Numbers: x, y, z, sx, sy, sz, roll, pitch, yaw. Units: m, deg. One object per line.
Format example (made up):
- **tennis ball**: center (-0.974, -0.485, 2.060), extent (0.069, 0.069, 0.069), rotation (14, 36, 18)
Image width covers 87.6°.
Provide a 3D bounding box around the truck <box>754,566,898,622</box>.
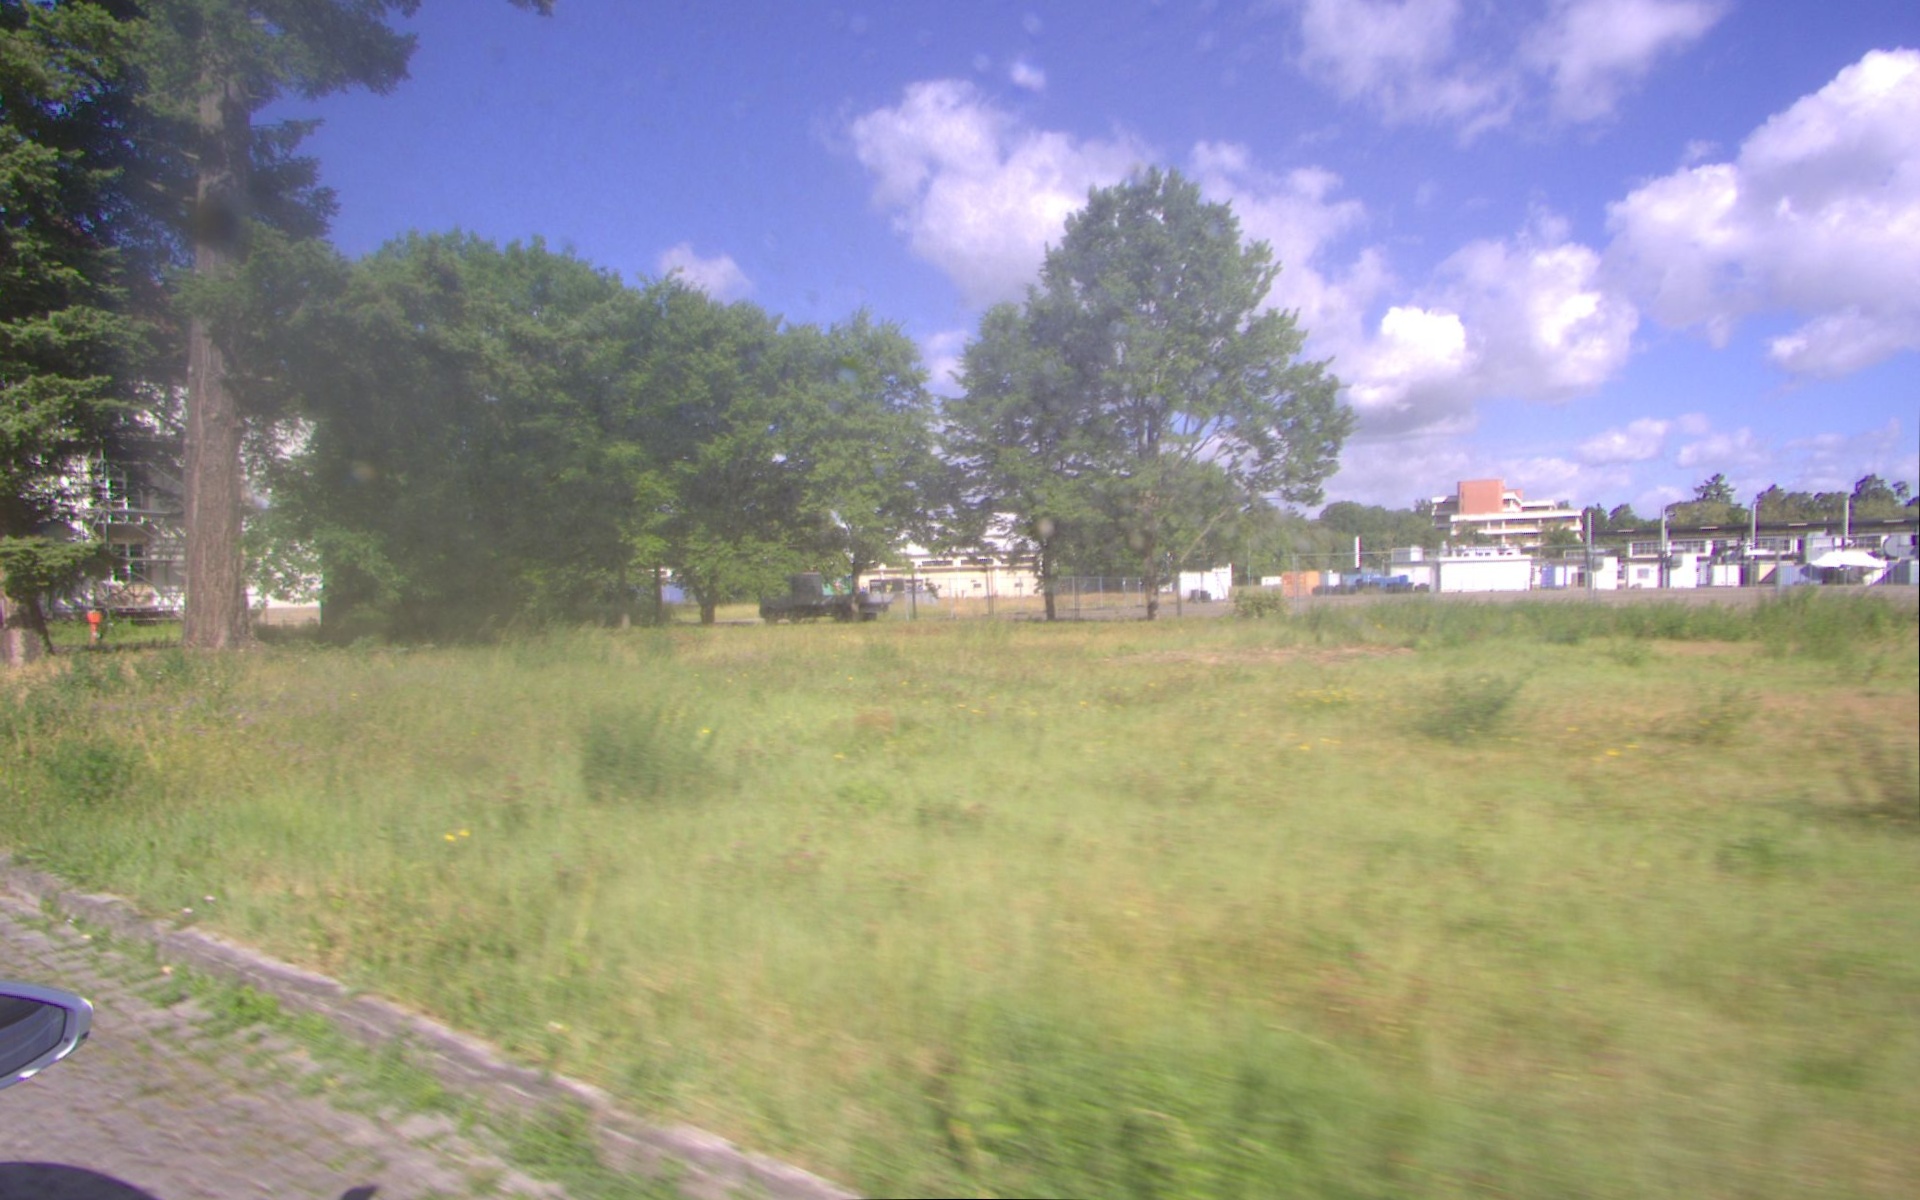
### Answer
- **truck**: center (-6.288, -0.238, 46.516), extent (6.788, 2.456, 2.228), rotation (0, 0, 33)
